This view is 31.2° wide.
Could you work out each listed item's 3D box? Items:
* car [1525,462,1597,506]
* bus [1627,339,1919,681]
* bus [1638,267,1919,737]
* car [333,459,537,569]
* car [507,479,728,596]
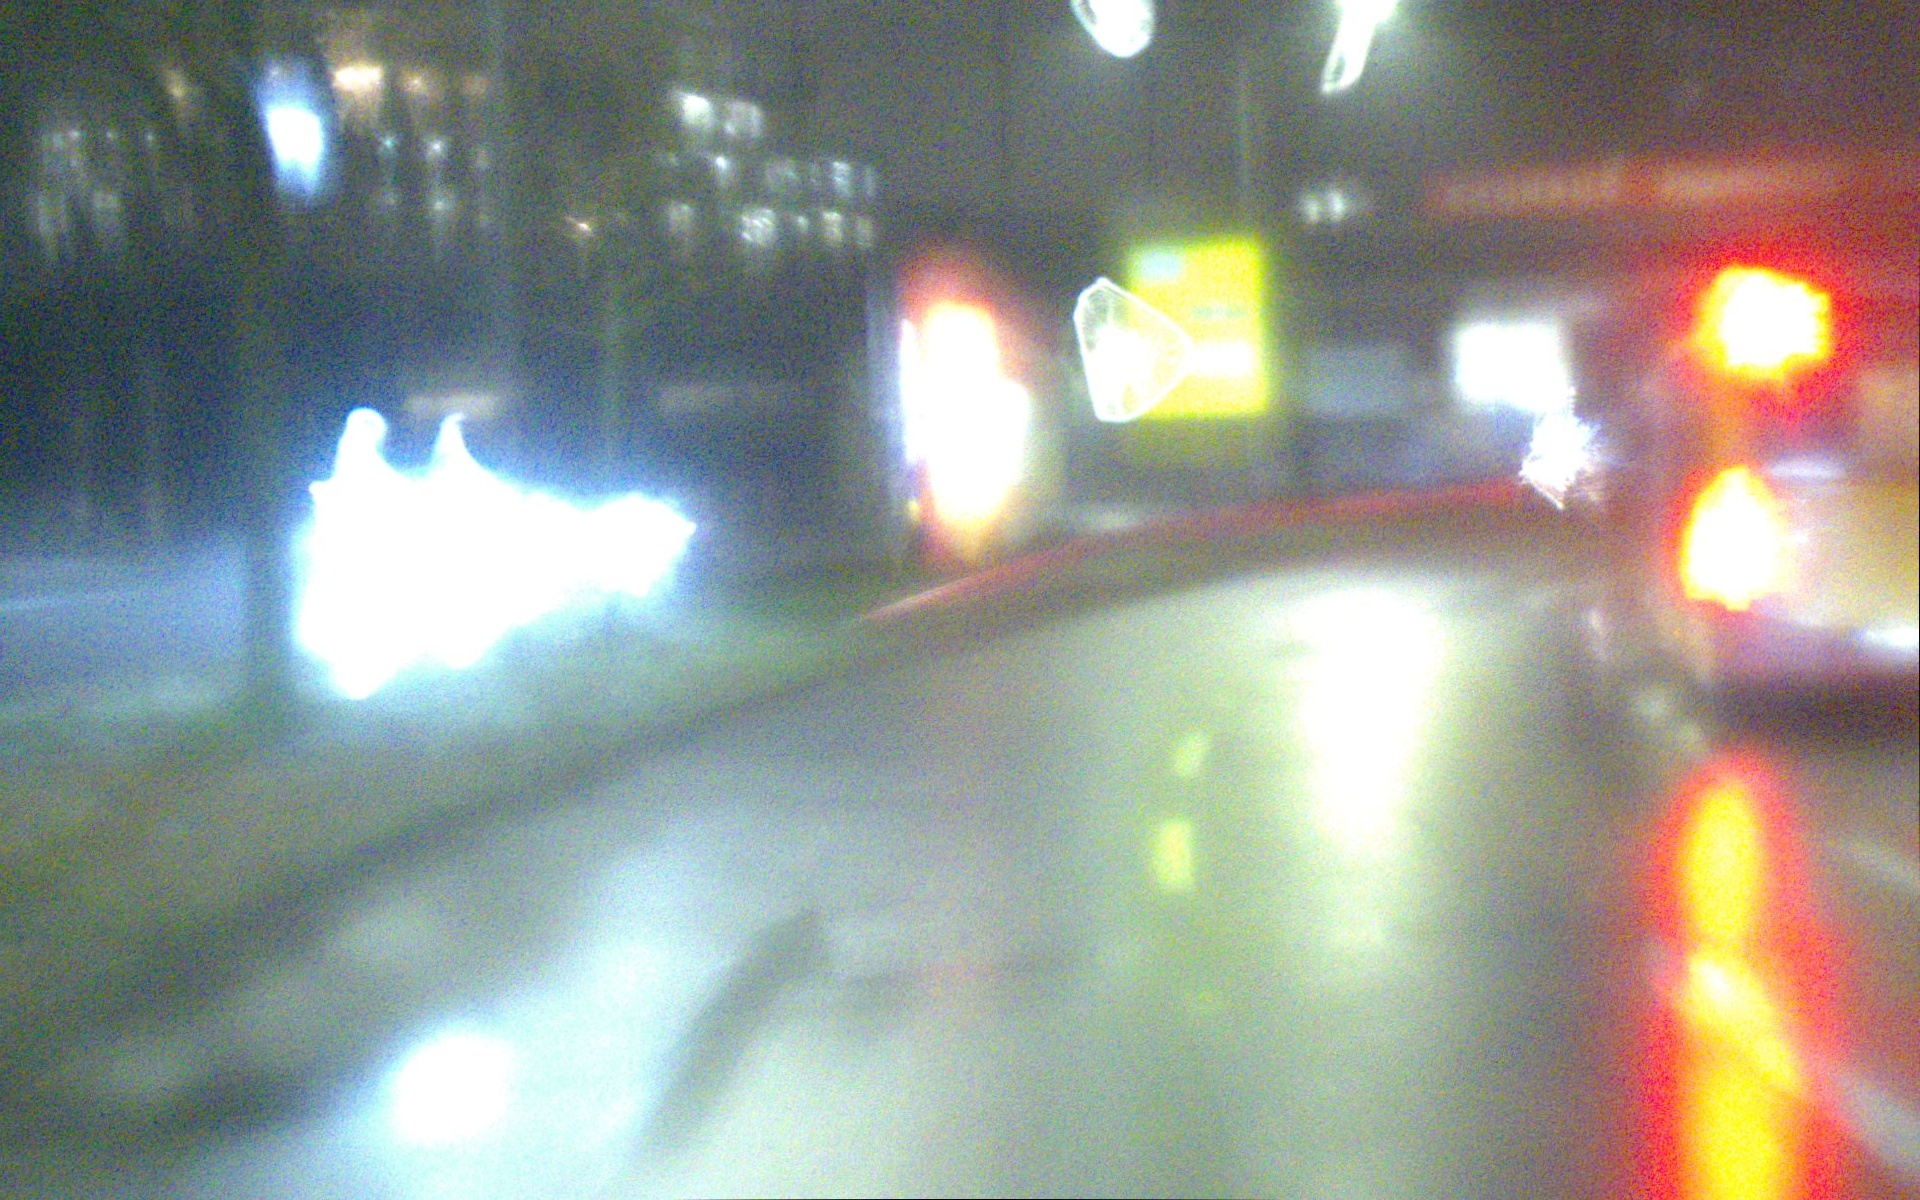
[{"bbox_3d":[19.625,-3.804,112.215,1.568,1.422,3.948,1,3,21],"label":"car"},{"bbox_3d":[8.767,-0.922,36.851,3.045,3.201,9.047,0,1,10],"label":"bus"},{"bbox_3d":[7.147,-0.746,27.947,3.045,3.201,9.047,0,1,10],"label":"bus"},{"bbox_3d":[-7.925,-1.333,52.266,1.994,1.588,3.999,-1,2,8],"label":"car"},{"bbox_3d":[-4.653,-0.889,47.456,1.867,1.458,4.638,-2,1,9],"label":"car"}]
